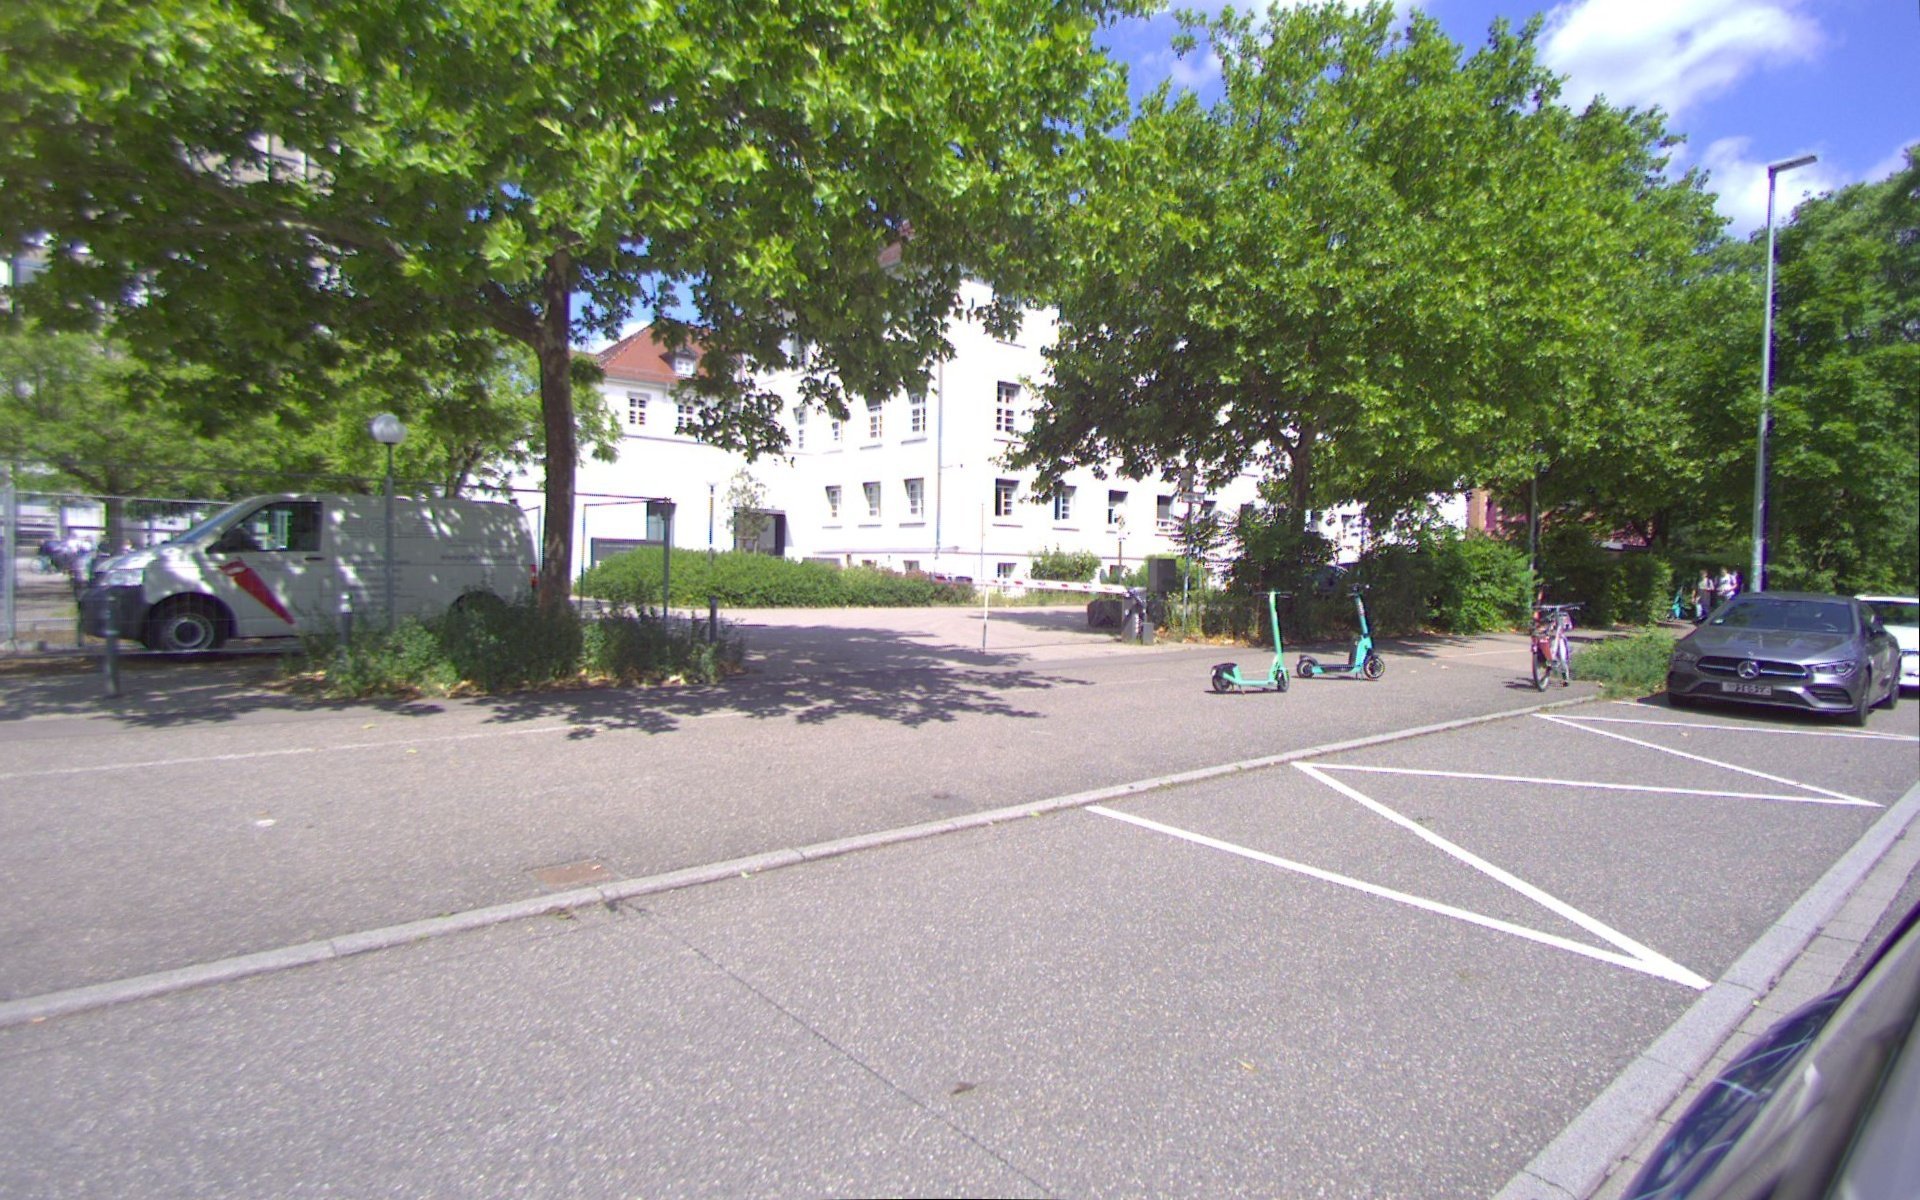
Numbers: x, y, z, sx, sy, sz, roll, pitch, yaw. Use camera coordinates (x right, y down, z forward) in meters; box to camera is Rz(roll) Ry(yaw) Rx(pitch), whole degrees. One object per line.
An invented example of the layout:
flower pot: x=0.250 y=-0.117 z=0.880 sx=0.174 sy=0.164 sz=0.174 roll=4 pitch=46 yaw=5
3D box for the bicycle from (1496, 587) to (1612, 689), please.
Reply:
bicycle: x=7.740 y=0.454 z=13.143 sx=2.082 sy=1.205 sz=0.639 roll=0 pitch=3 yaw=-42

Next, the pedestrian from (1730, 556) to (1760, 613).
pedestrian: x=24.916 y=-0.487 z=32.107 sx=0.681 sy=1.803 sz=0.779 roll=-1 pitch=0 yaw=42

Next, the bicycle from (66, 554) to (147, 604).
bicycle: x=-19.442 y=-0.467 z=23.061 sx=1.744 sy=1.113 sz=0.600 roll=-1 pitch=0 yaw=19

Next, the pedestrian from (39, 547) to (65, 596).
pedestrian: x=-42.554 y=-1.336 z=47.446 sx=0.701 sy=2.257 sz=0.635 roll=-1 pitch=0 yaw=-22

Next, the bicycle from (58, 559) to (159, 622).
bicycle: x=-15.463 y=-0.165 z=18.371 sx=1.745 sy=1.113 sz=0.600 roll=-1 pitch=0 yaw=19

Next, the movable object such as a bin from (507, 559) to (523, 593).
movable object such as a bin: x=-14.171 y=-0.759 z=32.219 sx=0.388 sy=1.068 sz=0.362 roll=3 pitch=3 yaw=45

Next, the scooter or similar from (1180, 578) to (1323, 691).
scooter or similar: x=3.275 y=0.378 z=11.345 sx=1.542 sy=1.183 sz=0.531 roll=1 pitch=2 yaw=-27

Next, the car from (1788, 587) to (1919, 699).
car: x=14.889 y=0.606 z=15.739 sx=4.846 sy=1.468 sz=1.745 roll=1 pitch=3 yaw=-34

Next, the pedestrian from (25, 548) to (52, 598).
pedestrian: x=-41.694 y=-1.223 z=45.785 sx=0.701 sy=2.257 sz=0.635 roll=-1 pitch=0 yaw=-22

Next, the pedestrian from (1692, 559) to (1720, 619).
pedestrian: x=22.735 y=-0.345 z=30.844 sx=0.680 sy=1.803 sz=0.780 roll=-1 pitch=0 yaw=37

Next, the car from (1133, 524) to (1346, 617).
car: x=5.933 y=-0.579 z=21.784 sx=1.967 sy=1.805 sz=3.990 roll=-1 pitch=1 yaw=-43

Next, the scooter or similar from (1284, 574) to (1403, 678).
scooter or similar: x=4.897 y=0.322 z=12.965 sx=1.263 sy=1.261 sz=0.531 roll=2 pitch=2 yaw=-6

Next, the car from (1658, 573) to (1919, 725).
car: x=10.653 y=0.500 z=12.736 sx=4.855 sy=1.496 sz=1.861 roll=0 pitch=3 yaw=-41

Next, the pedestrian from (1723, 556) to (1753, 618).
pedestrian: x=23.317 y=-0.390 z=30.334 sx=0.680 sy=1.803 sz=0.780 roll=-1 pitch=0 yaw=38

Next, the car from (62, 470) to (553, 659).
car: x=-7.840 y=-0.411 z=12.534 sx=4.860 sy=1.888 sz=1.899 roll=-1 pitch=2 yaw=-44
